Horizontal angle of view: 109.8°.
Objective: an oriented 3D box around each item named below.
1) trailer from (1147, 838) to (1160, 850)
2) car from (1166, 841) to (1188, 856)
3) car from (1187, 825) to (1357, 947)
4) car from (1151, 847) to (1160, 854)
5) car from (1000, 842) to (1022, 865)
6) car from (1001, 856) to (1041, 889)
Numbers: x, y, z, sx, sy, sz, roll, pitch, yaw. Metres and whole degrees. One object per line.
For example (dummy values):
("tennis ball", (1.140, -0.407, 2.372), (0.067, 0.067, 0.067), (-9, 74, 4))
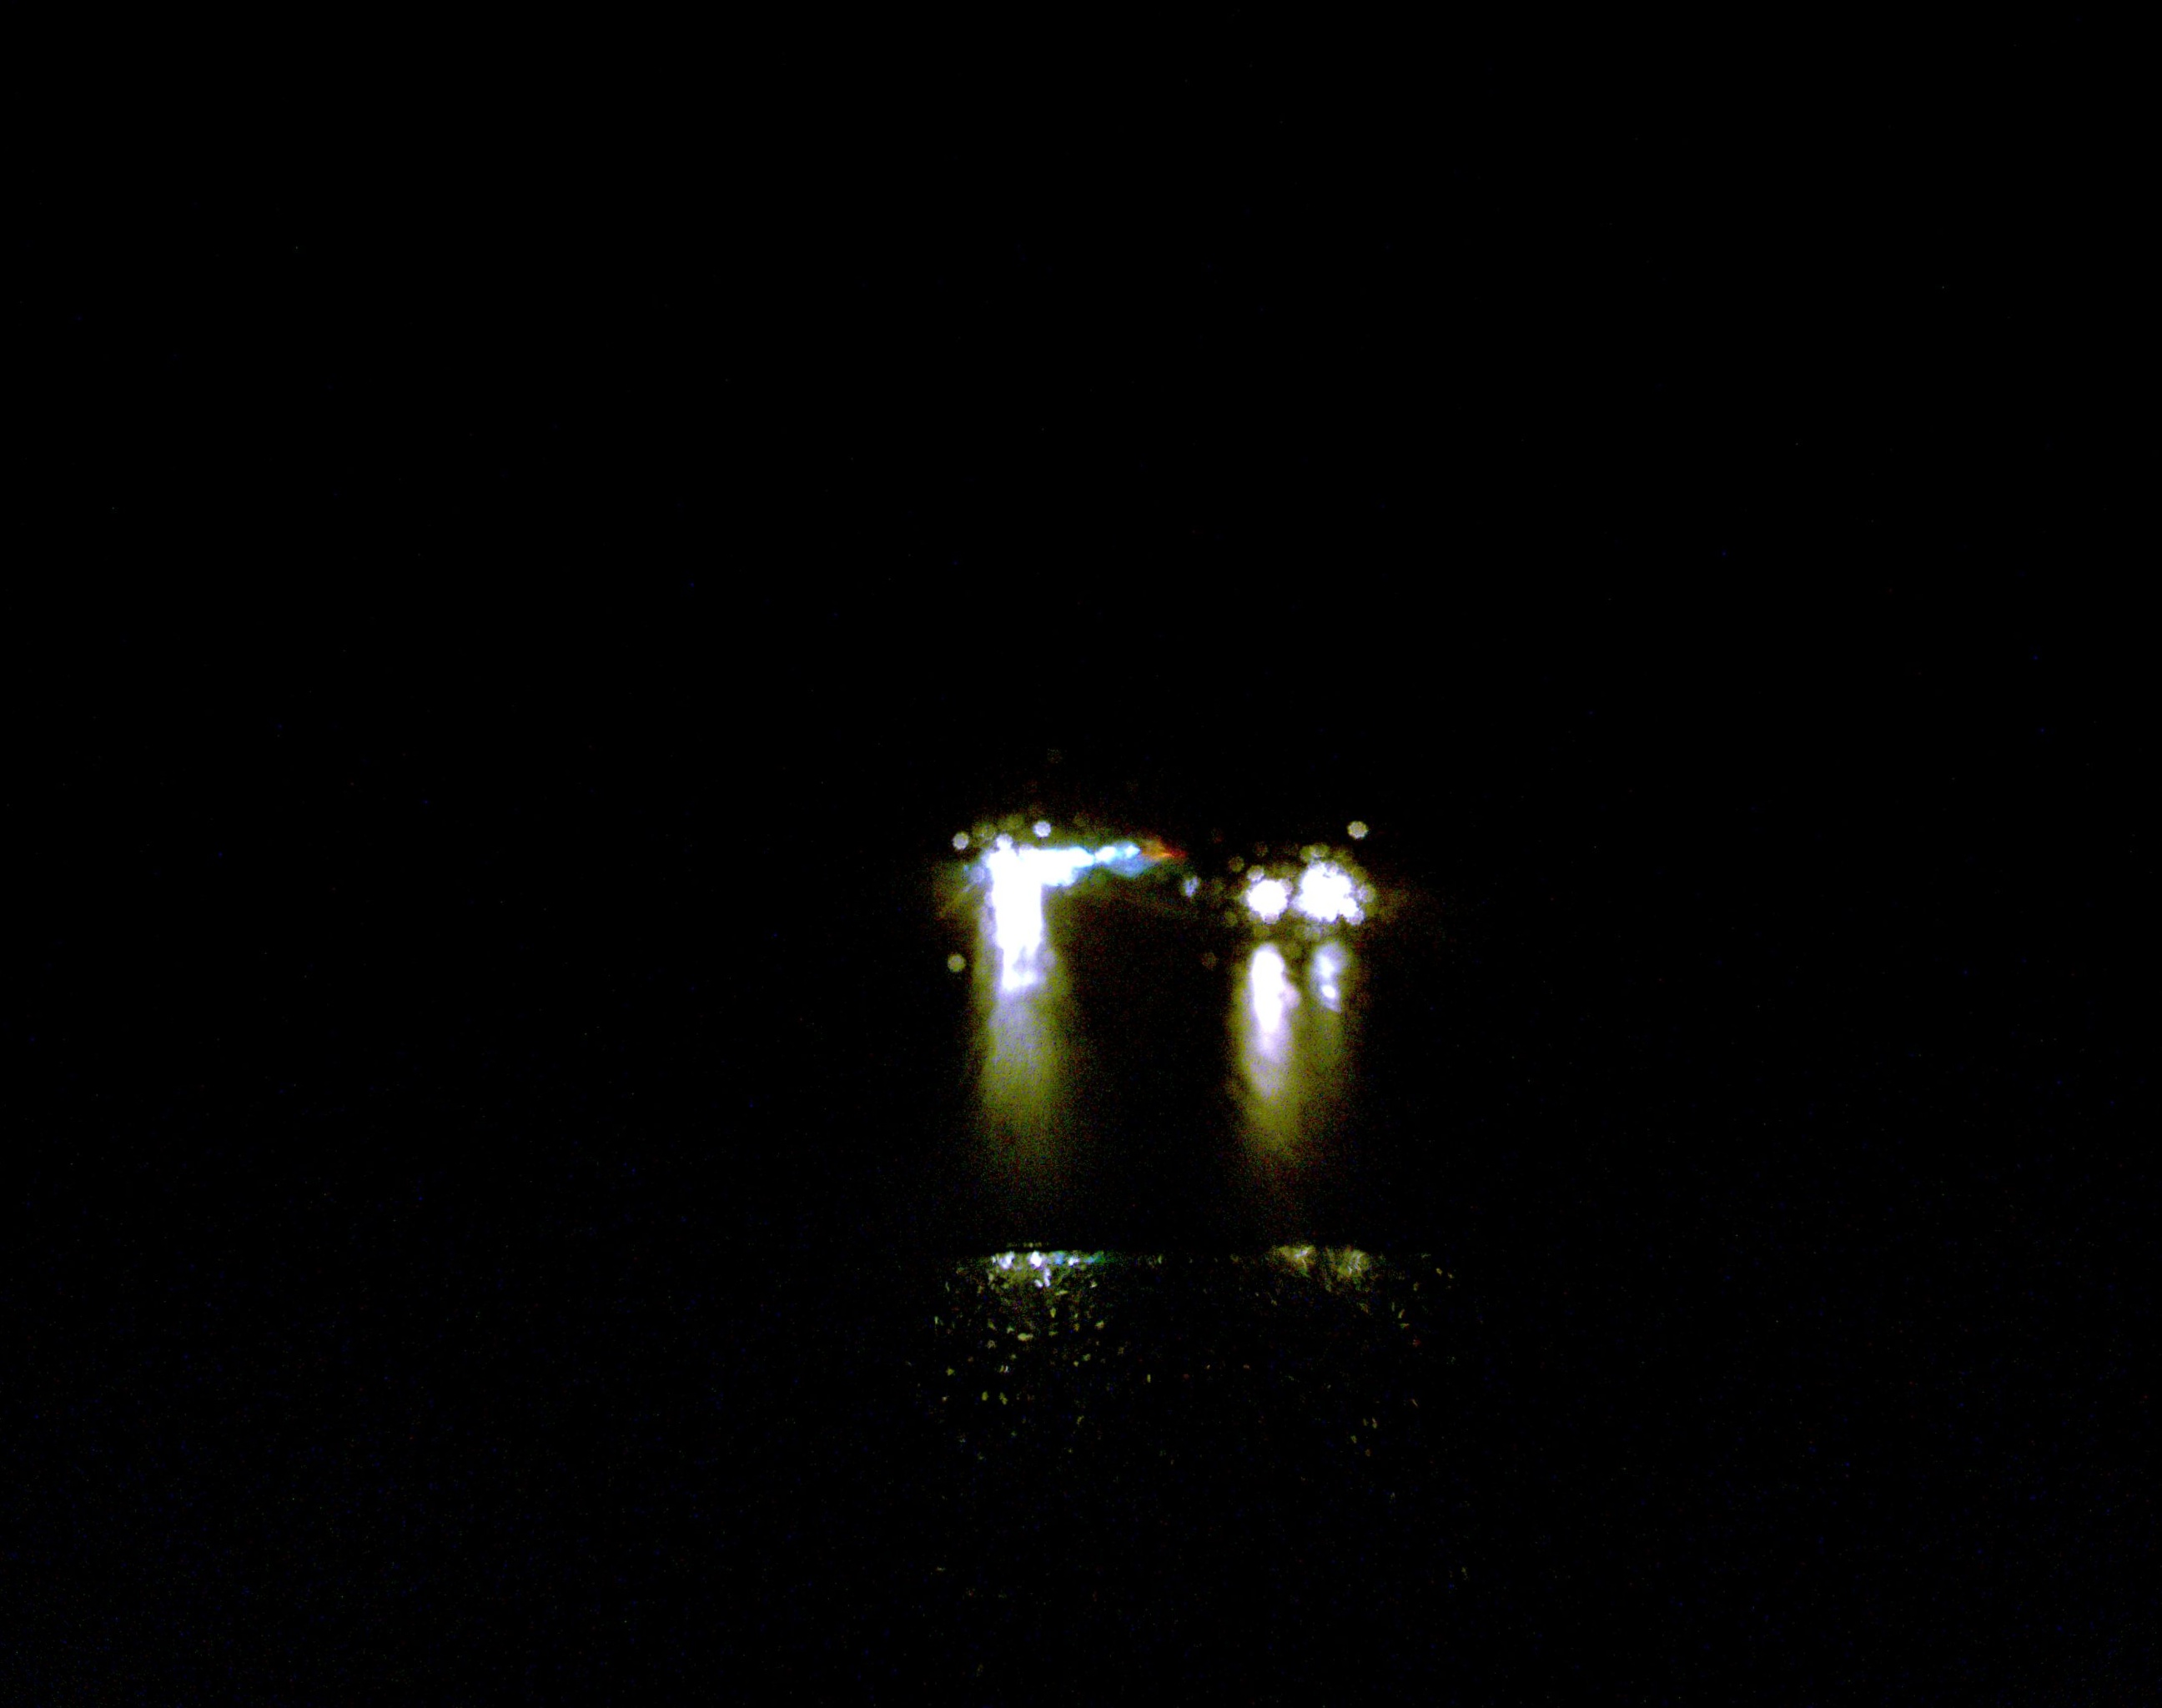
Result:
("trailer", (20.283, -2.881, 213.178), (2.616, 3.453, 10.443), (1, 1, 0))
("car", (13.081, -0.787, 104.169), (1.999, 2.002, 4.806), (0, 1, -5))
("car", (3.635, 0.542, 15.404), (1.755, 2.093, 4.459), (2, 0, -8))
("car", (17.362, -0.820, 176.921), (1.607, 1.335, 3.241), (-1, 2, -1))
("car", (-6.535, -0.058, 71.071), (1.999, 2.002, 3.998), (-1, 0, -5))
("car", (-3.165, 0.948, 40.681), (1.892, 1.603, 3.999), (1, 1, -1))
